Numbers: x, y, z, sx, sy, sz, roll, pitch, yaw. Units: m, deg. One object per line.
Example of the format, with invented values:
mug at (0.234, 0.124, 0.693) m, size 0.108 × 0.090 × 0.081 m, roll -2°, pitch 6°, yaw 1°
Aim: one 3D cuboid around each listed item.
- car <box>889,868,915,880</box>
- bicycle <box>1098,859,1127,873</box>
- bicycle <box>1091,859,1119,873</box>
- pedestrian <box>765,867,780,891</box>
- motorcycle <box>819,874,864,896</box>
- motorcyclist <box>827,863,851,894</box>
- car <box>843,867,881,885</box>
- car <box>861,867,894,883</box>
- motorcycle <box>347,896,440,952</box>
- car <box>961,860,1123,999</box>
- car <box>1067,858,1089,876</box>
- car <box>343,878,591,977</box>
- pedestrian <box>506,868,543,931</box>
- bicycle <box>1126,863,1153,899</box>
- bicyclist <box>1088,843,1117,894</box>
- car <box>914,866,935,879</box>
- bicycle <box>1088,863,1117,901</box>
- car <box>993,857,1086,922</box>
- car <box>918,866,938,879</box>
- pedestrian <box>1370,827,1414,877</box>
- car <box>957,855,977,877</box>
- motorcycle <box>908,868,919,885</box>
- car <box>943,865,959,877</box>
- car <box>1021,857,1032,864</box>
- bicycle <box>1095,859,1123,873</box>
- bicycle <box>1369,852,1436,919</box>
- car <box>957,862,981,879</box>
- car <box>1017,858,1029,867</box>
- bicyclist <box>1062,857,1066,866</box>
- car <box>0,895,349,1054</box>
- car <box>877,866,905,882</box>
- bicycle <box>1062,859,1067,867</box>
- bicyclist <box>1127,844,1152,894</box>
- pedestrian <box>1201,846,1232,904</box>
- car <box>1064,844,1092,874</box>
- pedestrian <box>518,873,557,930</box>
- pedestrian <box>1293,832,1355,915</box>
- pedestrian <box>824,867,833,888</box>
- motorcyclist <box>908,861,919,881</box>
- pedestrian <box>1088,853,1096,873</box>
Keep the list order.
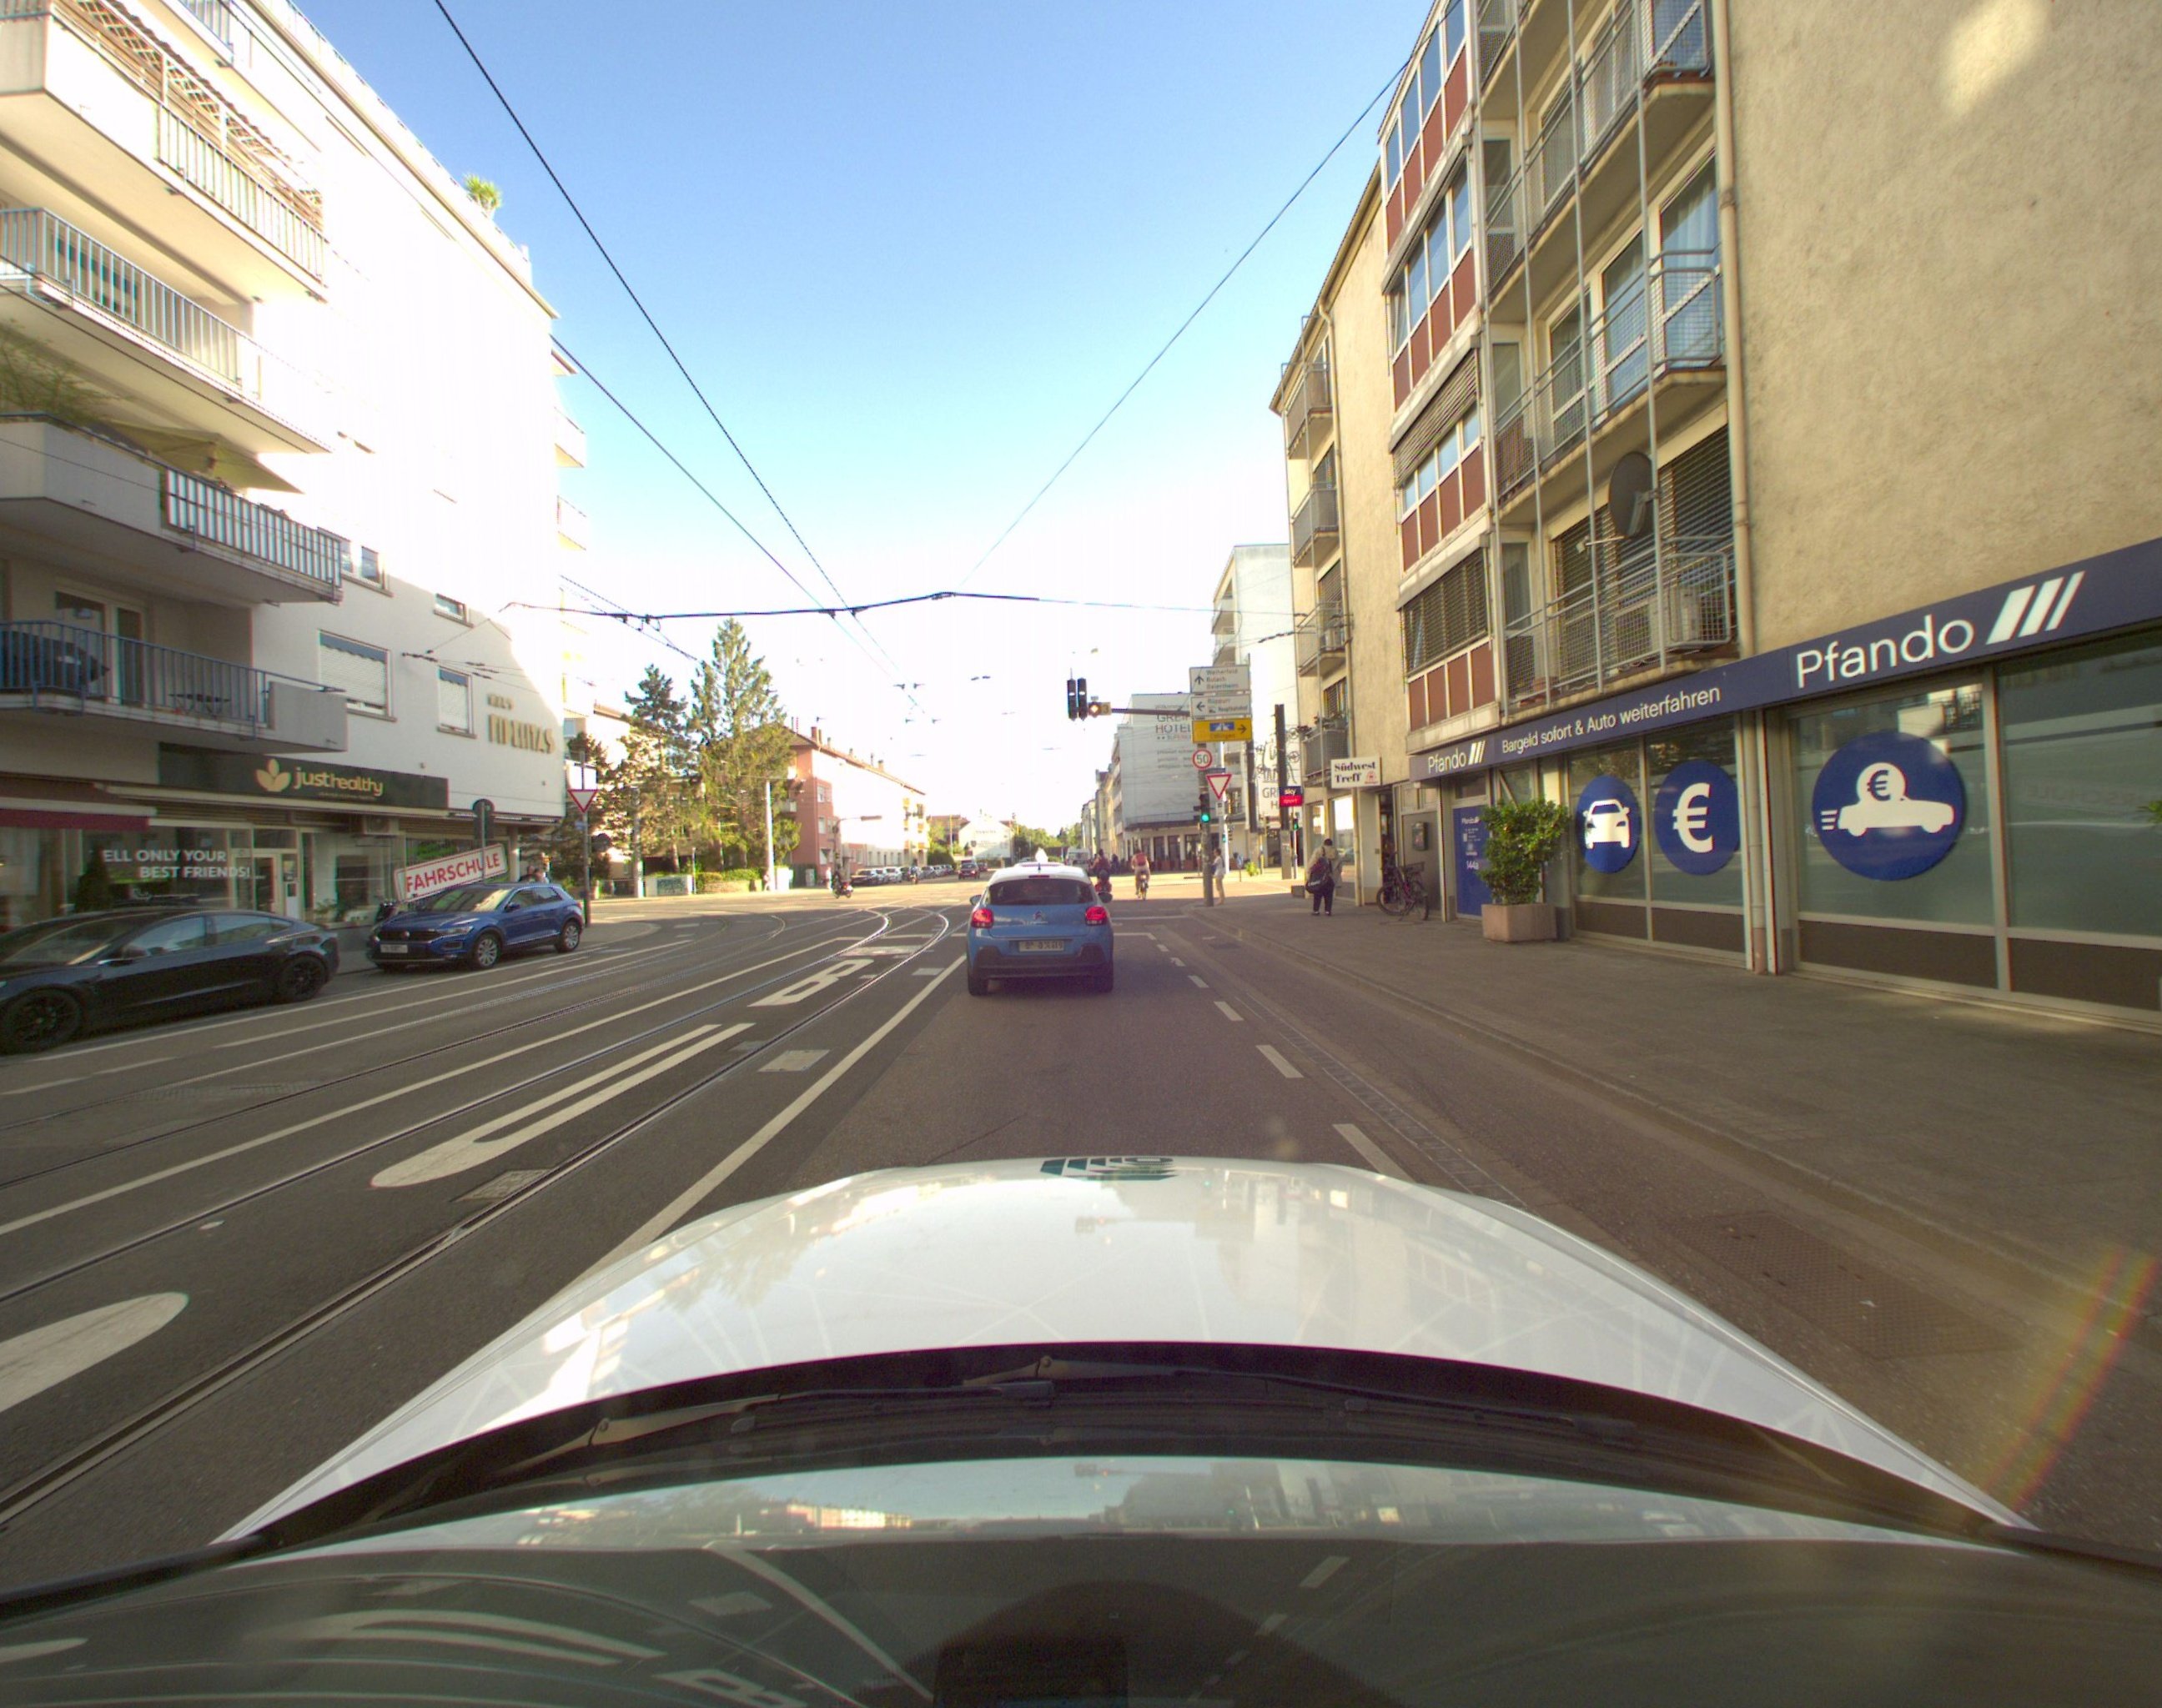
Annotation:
car at (-18.956, 2.091, 86.496) m, size 1.942 × 1.239 × 4.279 m, roll 0°, pitch -1°, yaw -2°
bicycle at (2.504, 0.971, 65.343) m, size 2.246 × 1.001 × 0.855 m, roll -4°, pitch -1°, yaw -3°
bicycle at (1.970, 1.013, 67.828) m, size 2.246 × 1.001 × 0.855 m, roll -4°, pitch -1°, yaw -3°
pedestrian at (-22.320, 1.791, 58.897) m, size 0.696 × 1.722 × 0.789 m, roll -1°, pitch -1°, yaw 26°
motorcycle at (-11.480, 1.481, 39.046) m, size 1.920 × 1.047 × 0.862 m, roll -1°, pitch -1°, yaw 19°
motorcyclist at (-11.628, 1.173, 39.100) m, size 0.721 × 1.488 × 0.862 m, roll -1°, pitch -1°, yaw 19°
car at (-18.585, 1.887, 69.331) m, size 2.148 × 1.432 × 4.436 m, roll 0°, pitch -2°, yaw -2°
car at (-18.634, 1.907, 74.789) m, size 1.897 × 1.436 × 4.102 m, roll 0°, pitch -1°, yaw 1°
motorcycle at (-15.641, 1.559, 18.597) m, size 0.605 × 1.134 × 1.796 m, roll 0°, pitch -1°, yaw -1°
car at (-0.647, 0.834, 10.678) m, size 1.735 × 1.452 × 3.652 m, roll -1°, pitch -1°, yaw -8°
car at (-0.277, 1.032, 67.324) m, size 1.654 × 1.431 × 3.883 m, roll 0°, pitch -1°, yaw -4°
car at (-11.660, 1.307, 15.905) m, size 1.765 × 1.503 × 4.233 m, roll 0°, pitch 0°, yaw -3°
pedestrian at (-16.997, 1.387, 24.882) m, size 0.568 × 1.900 × 0.742 m, roll -2°, pitch -3°, yaw 17°
bicycle at (2.029, 0.908, 28.112) m, size 0.806 × 1.181 × 2.068 m, roll -1°, pitch -1°, yaw 7°
bicyclist at (0.729, 0.495, 27.484) m, size 0.937 × 1.673 × 1.079 m, roll 0°, pitch -1°, yaw 1°
car at (-18.892, 2.238, 98.451) m, size 1.865 × 1.576 × 3.996 m, roll 0°, pitch -1°, yaw -3°
bicycle at (0.728, 0.920, 27.542) m, size 0.937 × 1.223 × 2.095 m, roll 0°, pitch -1°, yaw 1°
car at (-1.183, 0.854, 21.485) m, size 1.787 × 1.522 × 3.744 m, roll 0°, pitch 0°, yaw -14°
car at (-19.322, 2.292, 102.812) m, size 1.865 × 1.576 × 3.996 m, roll 0°, pitch -1°, yaw -3°
pedestrian at (7.117, -0.041, 18.637) m, size 0.627 × 1.087 × 0.672 m, roll -3°, pitch 0°, yaw -35°
car at (-16.722, 1.704, 119.439) m, size 2.410 × 3.142 × 3.487 m, roll 0°, pitch -1°, yaw 0°
motorcycle at (-12.590, 1.705, 61.256) m, size 0.713 × 1.220 × 1.956 m, roll -2°, pitch -2°, yaw -14°
car at (-19.074, 2.483, 119.245) m, size 1.865 × 1.576 × 3.996 m, roll 0°, pitch -1°, yaw -3°
car at (-12.488, 1.491, 187.450) m, size 2.068 × 1.762 × 5.035 m, roll 0°, pitch -1°, yaw -1°
bicycle at (2.291, 0.980, 66.720) m, size 2.246 × 1.001 × 0.855 m, roll -4°, pitch -1°, yaw -3°
bicycle at (5.919, 0.559, 15.084) m, size 0.494 × 1.161 × 1.776 m, roll -2°, pitch -1°, yaw 0°
car at (-10.326, 1.497, 75.387) m, size 1.774 × 1.486 × 3.825 m, roll -3°, pitch -1°, yaw -2°
car at (-12.095, 1.823, 170.151) m, size 2.211 × 1.932 × 4.947 m, roll 0°, pitch -1°, yaw -1°
bicyclist at (-3.594, 1.597, 174.110) m, size 0.787 × 2.025 × 0.987 m, roll 0°, pitch -1°, yaw 4°
car at (-11.880, 1.328, 9.987) m, size 1.763 × 1.475 × 4.444 m, roll 0°, pitch -1°, yaw 0°
car at (-18.508, 1.927, 79.395) m, size 1.736 × 1.526 × 4.228 m, roll 0°, pitch -1°, yaw -1°
bicycle at (-3.591, 1.946, 174.103) m, size 0.787 × 1.670 × 2.232 m, roll 0°, pitch -1°, yaw 4°
bicyclist at (2.035, 0.524, 28.129) m, size 0.806 × 1.692 × 0.937 m, roll -1°, pitch -1°, yaw 7°
pedestrian at (3.920, 0.598, 23.541) m, size 0.534 × 1.624 × 0.737 m, roll -7°, pitch -3°, yaw 24°
car at (-0.337, 0.453, 72.462) m, size 2.259 × 2.482 × 5.003 m, roll -1°, pitch -1°, yaw -2°
pedestrian at (-17.676, 1.523, 26.504) m, size 0.731 × 1.792 × 0.663 m, roll -2°, pitch 0°, yaw 5°
pedestrian at (4.963, 0.391, 16.677) m, size 0.883 × 1.592 × 0.809 m, roll -5°, pitch 0°, yaw -6°
pedestrian at (-18.929, 1.752, 61.076) m, size 0.515 × 1.568 × 0.573 m, roll 0°, pitch -1°, yaw -1°
motorcyclist at (-12.630, 1.273, 61.384) m, size 0.694 × 1.497 × 0.681 m, roll -2°, pitch -2°, yaw -14°
pedestrian at (0.936, 0.765, 69.246) m, size 0.611 × 1.654 × 0.671 m, roll 0°, pitch -1°, yaw 1°
